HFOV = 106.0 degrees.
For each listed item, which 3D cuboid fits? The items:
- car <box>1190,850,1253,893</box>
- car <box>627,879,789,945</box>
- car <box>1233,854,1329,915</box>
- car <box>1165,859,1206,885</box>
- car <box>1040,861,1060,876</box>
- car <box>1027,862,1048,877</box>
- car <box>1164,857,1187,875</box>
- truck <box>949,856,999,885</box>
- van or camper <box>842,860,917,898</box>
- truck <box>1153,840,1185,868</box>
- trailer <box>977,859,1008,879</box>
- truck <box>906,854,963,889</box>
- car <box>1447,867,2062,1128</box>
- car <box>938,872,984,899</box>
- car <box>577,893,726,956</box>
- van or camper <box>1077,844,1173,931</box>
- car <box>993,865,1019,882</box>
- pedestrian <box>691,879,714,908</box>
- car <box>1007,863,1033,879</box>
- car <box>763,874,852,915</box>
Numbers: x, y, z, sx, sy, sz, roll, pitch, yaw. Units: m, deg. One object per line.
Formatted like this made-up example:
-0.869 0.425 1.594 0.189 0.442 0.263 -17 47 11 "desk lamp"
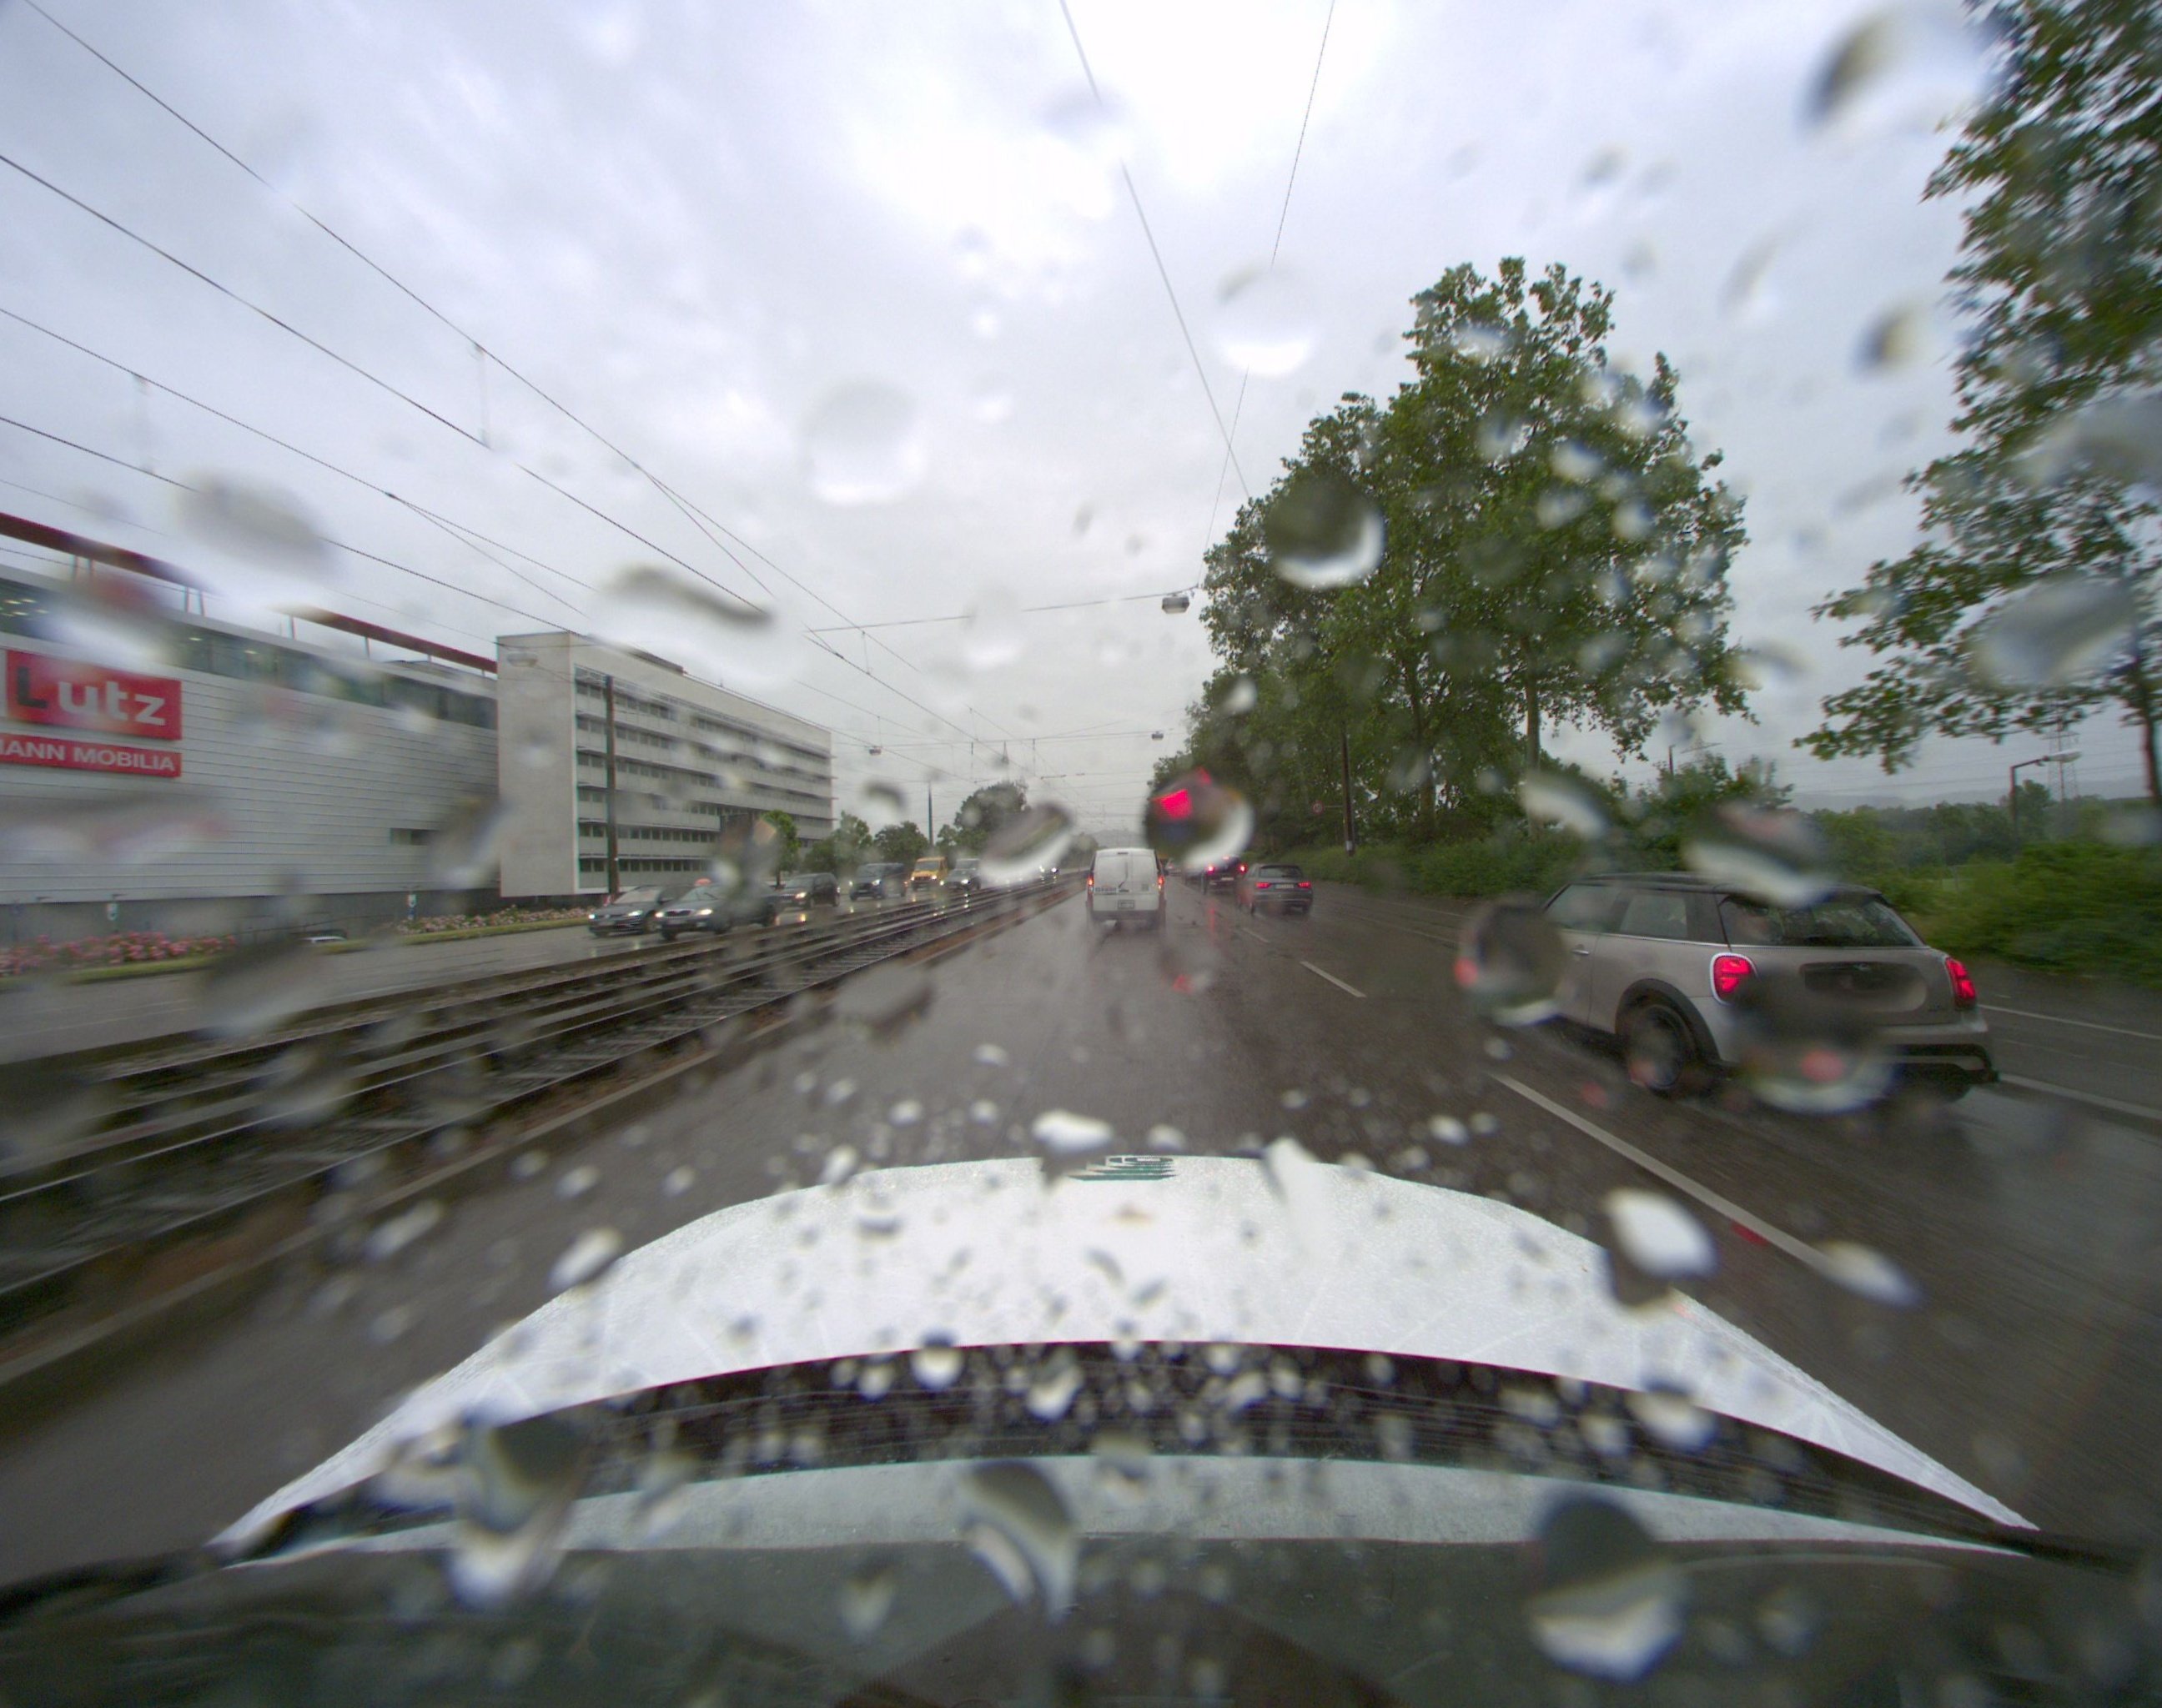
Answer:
5.980 0.683 35.201 1.893 1.717 4.725 -1 0 0 "car"
-10.256 1.545 22.877 1.984 1.457 4.678 -4 -1 5 "car"
5.604 0.812 23.347 1.959 1.528 3.994 -1 0 3 "car"
6.152 1.032 48.410 1.813 1.414 3.775 -1 0 -2 "car"
-3.671 1.706 96.522 1.810 1.623 4.542 -2 -1 5 "car"
-5.666 1.988 106.736 1.984 1.721 4.888 -3 0 5 "car"
7.801 0.988 67.267 1.809 1.414 3.784 -1 0 5 "car"
-9.270 1.381 71.340 2.421 2.458 7.235 0 0 8 "truck"
-11.377 1.384 46.493 2.292 2.014 5.696 0 0 7 "van or camper"
9.322 0.015 86.923 3.098 2.773 6.337 -2 0 4 "truck"
-8.386 1.403 77.283 2.107 1.793 3.844 0 0 7 "trailer"
-10.551 1.230 59.169 2.214 2.462 6.080 0 0 8 "truck"
4.581 0.826 6.434 1.784 1.414 3.856 1 -1 2 "car"
-7.591 1.949 51.997 1.849 1.494 4.695 -3 -1 5 "car"
-13.437 2.158 25.863 1.954 1.516 4.560 -4 -1 5 "car"
0.993 0.685 18.958 1.986 1.784 4.003 -1 1 2 "van or camper"
-7.745 1.966 84.318 1.762 1.682 4.698 0 0 7 "car"
-23.653 2.436 50.859 0.818 1.763 1.052 0 -1 7 "pedestrian"
-6.843 1.918 92.360 1.983 1.583 4.775 -3 0 7 "car"
-12.307 1.780 36.998 1.848 1.618 4.916 -3 -1 7 "car"
